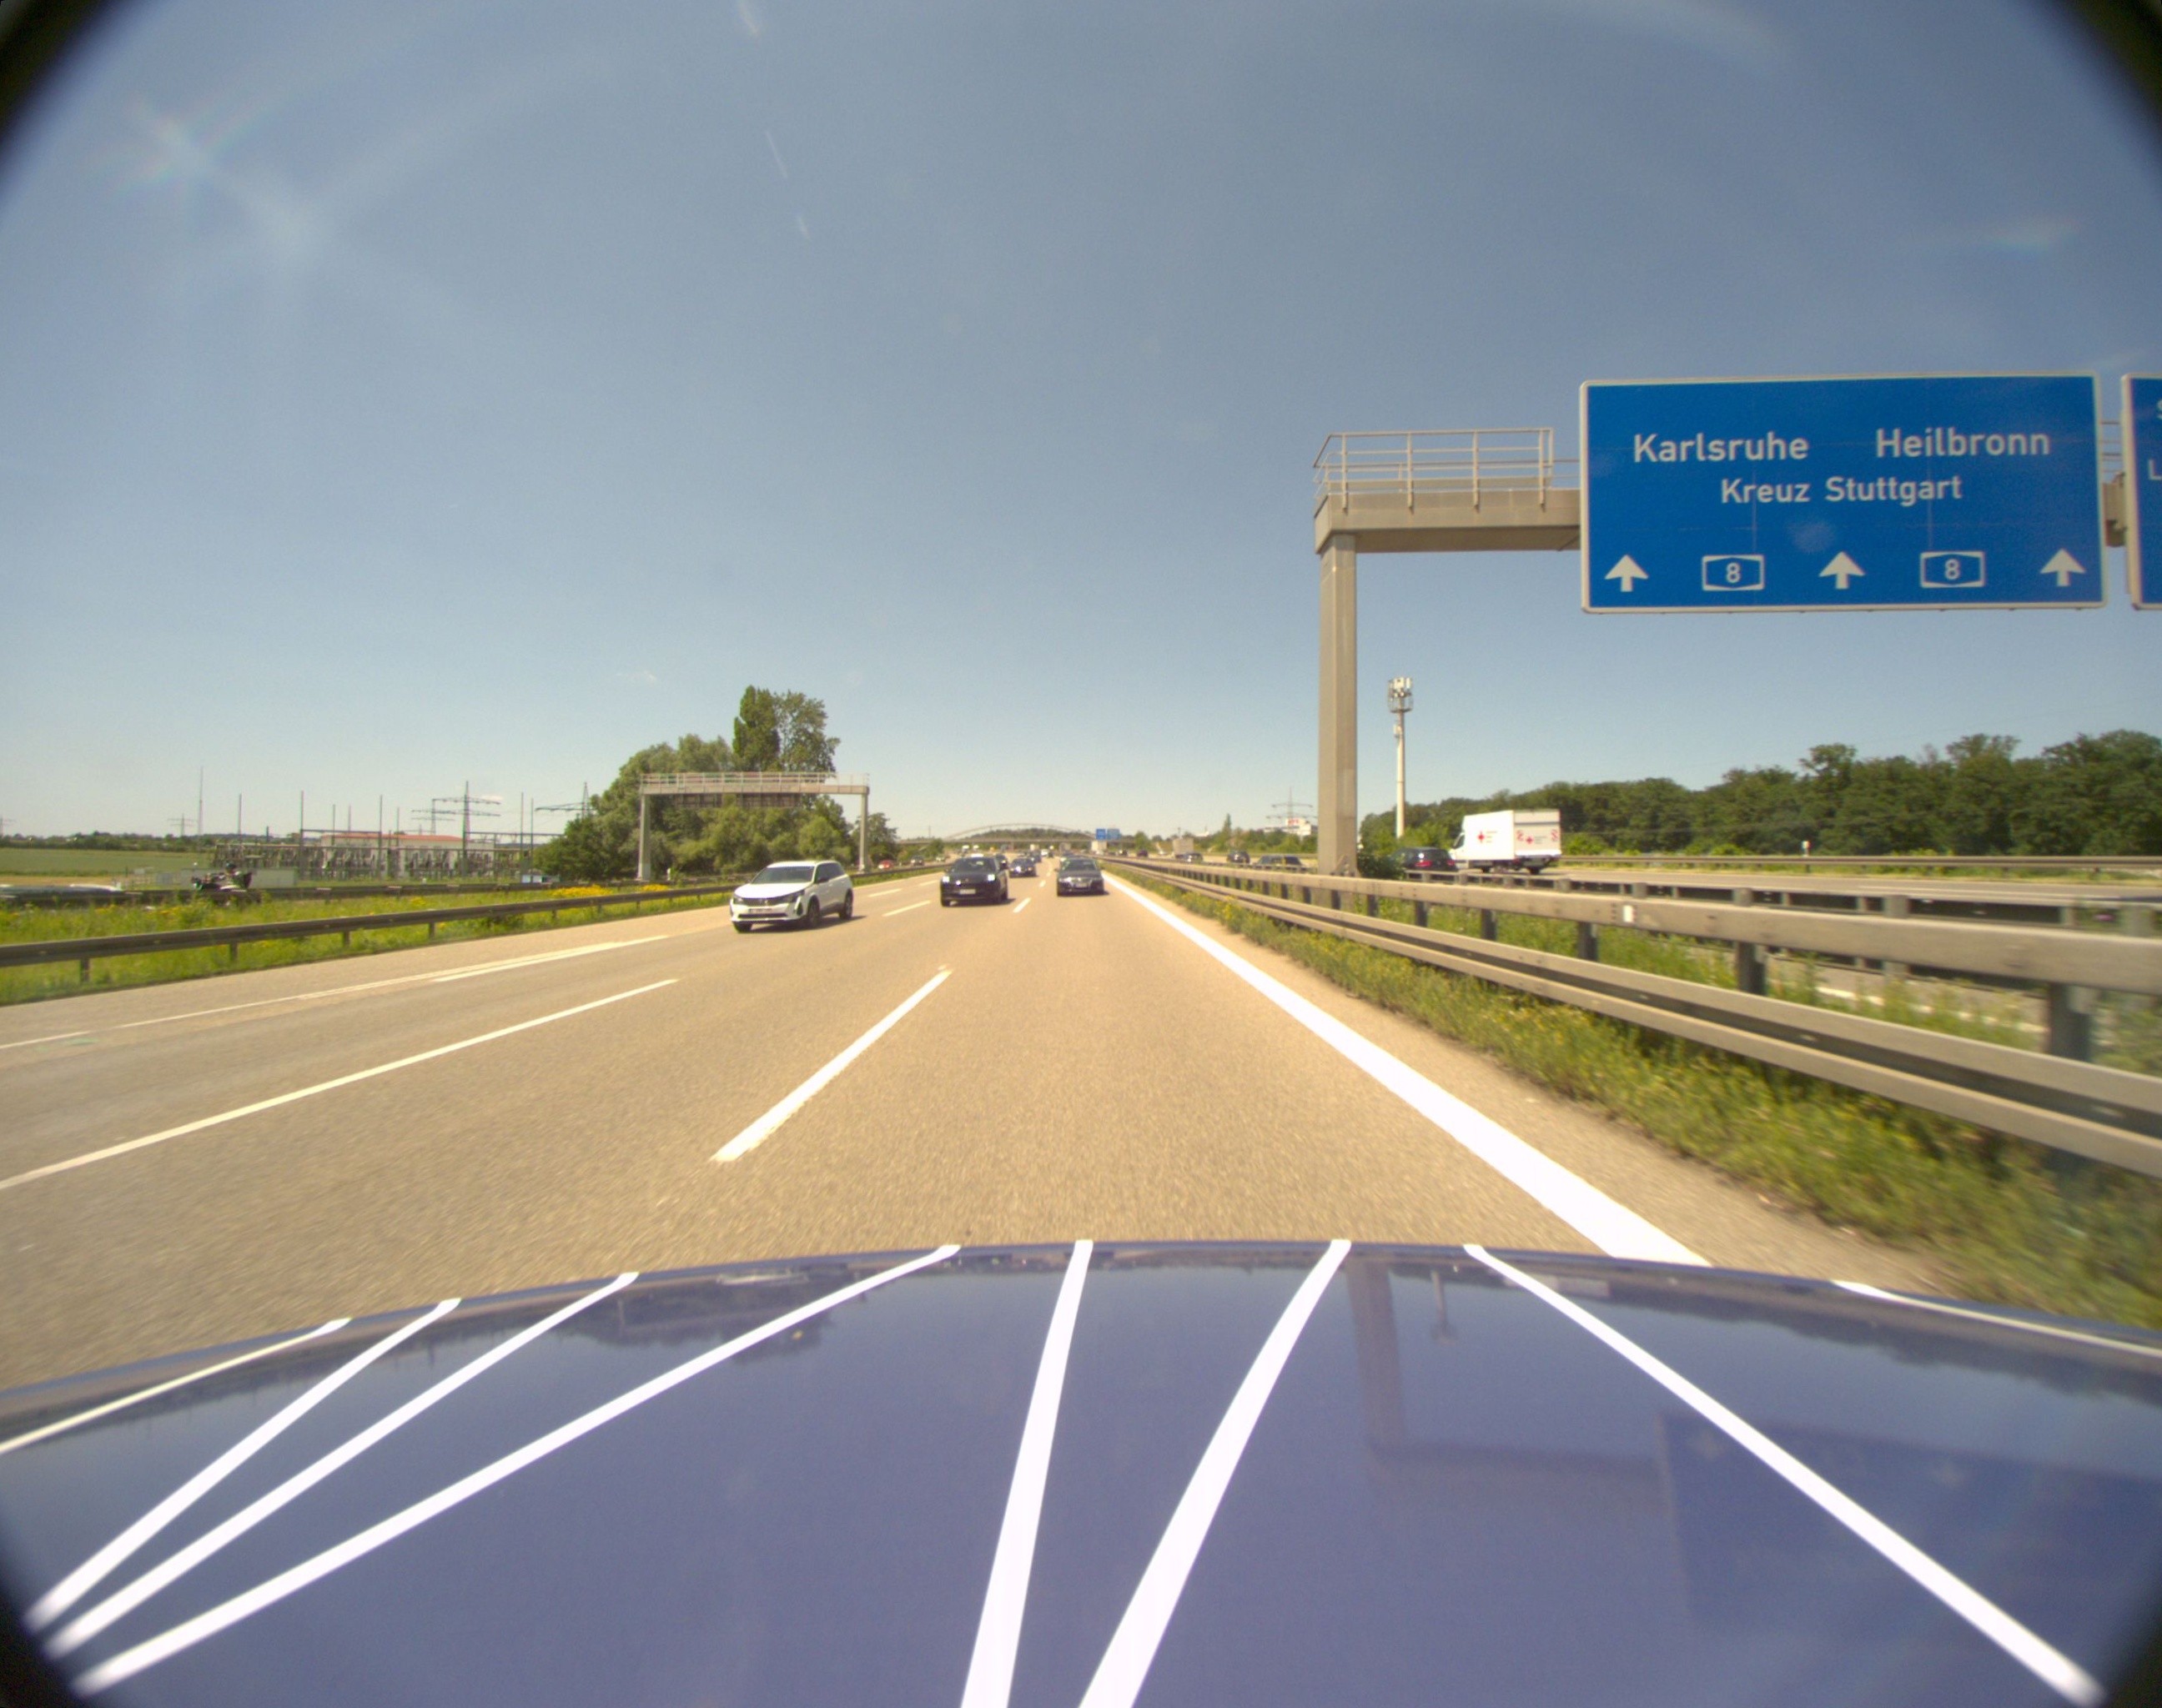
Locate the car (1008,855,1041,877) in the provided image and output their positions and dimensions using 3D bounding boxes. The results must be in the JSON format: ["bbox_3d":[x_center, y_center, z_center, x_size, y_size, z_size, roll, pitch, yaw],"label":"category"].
[{"bbox_3d":[-4.024,0.823,55.065,1.931,1.390,4.117,-2,1,2],"label":"car"}]

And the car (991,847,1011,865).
[{"bbox_3d":[-8.957,0.210,85.316,1.809,1.908,4.293,-2,1,-2],"label":"car"}]

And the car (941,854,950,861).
[{"bbox_3d":[-32.242,0.875,180.769,1.705,1.566,4.124,-2,1,-7],"label":"car"}]

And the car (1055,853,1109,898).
[{"bbox_3d":[-0.050,0.781,30.082,1.932,1.499,4.389,-2,1,-2],"label":"car"}]

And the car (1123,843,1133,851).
[{"bbox_3d":[9.286,-1.371,150.718,1.679,1.616,4.084,-2,1,0],"label":"car"}]

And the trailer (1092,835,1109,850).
[{"bbox_3d":[5.736,-3.366,227.759,3.045,4.216,12.237,-2,1,-8],"label":"trailer"}]

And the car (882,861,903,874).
[{"bbox_3d":[-26.960,1.917,108.794,1.703,1.566,4.128,-2,1,2],"label":"car"}]

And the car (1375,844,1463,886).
[{"bbox_3d":[13.494,0.416,30.594,1.747,1.552,3.999,-1,0,0],"label":"car"}]

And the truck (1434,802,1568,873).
[{"bbox_3d":[21.053,-0.770,38.714,2.326,3.149,8.112,-1,0,0],"label":"truck"}]

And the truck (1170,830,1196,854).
[{"bbox_3d":[14.816,-1.729,111.044,2.382,3.258,7.657,-2,1,-2],"label":"truck"}]

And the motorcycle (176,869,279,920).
[{"bbox_3d":[-25.198,1.174,22.487,0.761,1.359,1.870,-1,1,8],"label":"motorcycle"}]

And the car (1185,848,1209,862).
[{"bbox_3d":[12.366,0.127,81.484,1.794,1.455,4.858,-1,0,0],"label":"car"}]

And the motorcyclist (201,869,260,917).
[{"bbox_3d":[-25.209,1.143,22.526,0.670,1.359,0.879,-1,2,8],"label":"motorcyclist"}]

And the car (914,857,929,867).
[{"bbox_3d":[-29.215,1.421,139.053,1.703,1.566,4.128,-2,1,2],"label":"car"}]

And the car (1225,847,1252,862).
[{"bbox_3d":[16.081,0.053,77.917,1.910,1.412,4.000,-1,0,0],"label":"car"}]

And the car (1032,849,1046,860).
[{"bbox_3d":[-6.883,0.081,124.276,1.925,1.762,3.999,-2,1,2],"label":"car"}]

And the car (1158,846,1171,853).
[{"bbox_3d":[18.892,-1.118,172.019,2.111,1.523,4.370,-2,1,-2],"label":"car"}]

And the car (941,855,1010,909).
[{"bbox_3d":[-3.553,0.900,26.255,1.932,1.586,4.130,-2,1,-3],"label":"car"}]

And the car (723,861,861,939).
[{"bbox_3d":[-7.144,1.050,19.339,1.748,1.582,4.618,-2,1,-1],"label":"car"}]

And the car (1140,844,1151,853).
[{"bbox_3d":[12.981,-1.167,153.294,1.852,1.646,4.909,-2,1,0],"label":"car"}]

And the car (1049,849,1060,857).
[{"bbox_3d":[-6.166,-0.275,175.401,2.000,1.849,3.997,-2,1,-7],"label":"car"}]
